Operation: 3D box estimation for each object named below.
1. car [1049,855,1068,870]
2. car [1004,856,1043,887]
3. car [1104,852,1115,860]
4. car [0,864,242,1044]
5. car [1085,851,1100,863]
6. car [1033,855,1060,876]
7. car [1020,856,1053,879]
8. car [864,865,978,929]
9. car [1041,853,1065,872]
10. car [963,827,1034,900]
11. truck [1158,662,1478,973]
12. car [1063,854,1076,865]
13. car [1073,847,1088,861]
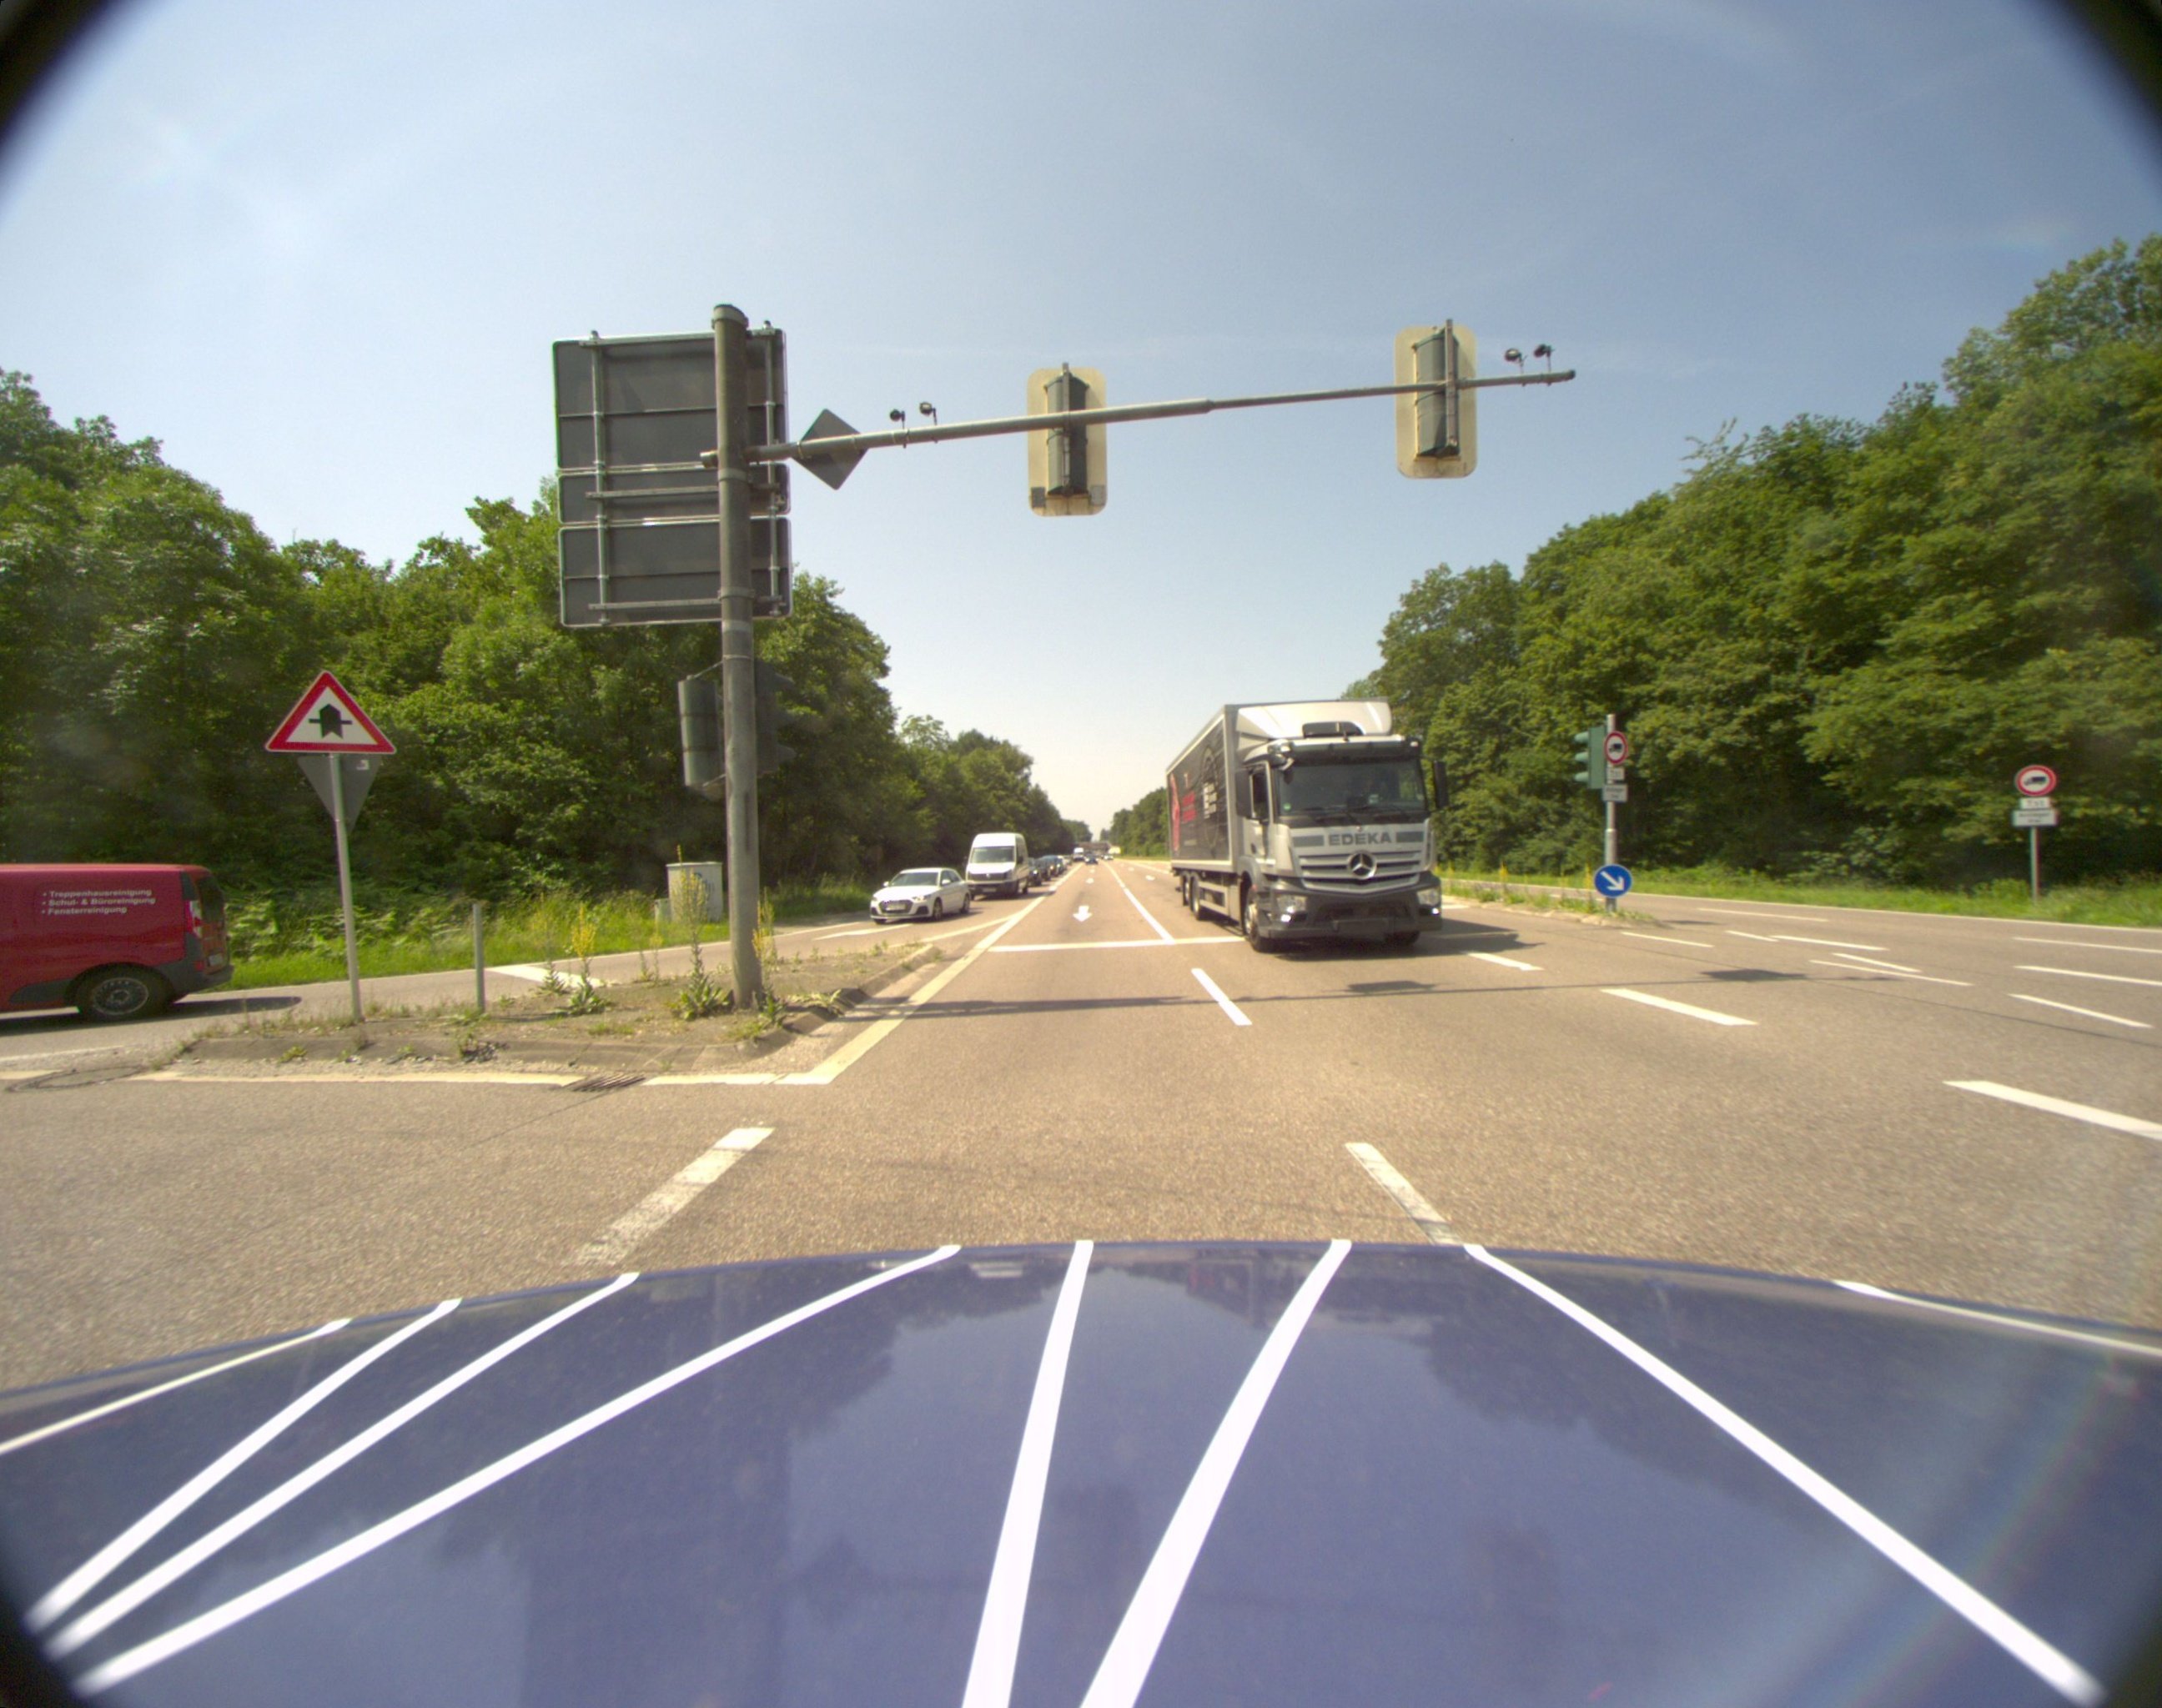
[{"bbox_3d":[-2.286,0.838,77.935,1.796,1.431,4.228,-1,0,0],"label":"car"},{"bbox_3d":[-3.061,0.930,41.409,1.796,1.452,4.228,-3,1,-1],"label":"car"},{"bbox_3d":[5.684,0.404,151.142,1.998,1.543,4.000,-1,0,1],"label":"car"},{"bbox_3d":[-12.390,1.118,8.025,4.505,1.812,1.793,-2,0,-41],"label":"car"},{"bbox_3d":[1.602,0.420,106.965,1.992,1.575,4.364,-2,1,0],"label":"car"},{"bbox_3d":[-2.539,0.819,56.946,1.796,1.431,4.228,-2,1,0],"label":"car"},{"bbox_3d":[-2.831,0.839,49.128,1.796,1.348,4.228,-2,1,0],"label":"car"},{"bbox_3d":[-4.354,1.134,21.327,1.693,1.427,4.002,-4,0,10],"label":"car"},{"bbox_3d":[-2.308,0.666,63.635,1.796,1.431,4.228,-2,1,0],"label":"car"},{"bbox_3d":[-3.280,0.336,31.408,1.974,2.629,6.060,-3,0,2],"label":"car"},{"bbox_3d":[3.622,-0.507,15.401,2.753,3.862,11.319,-3,1,0],"label":"truck"},{"bbox_3d":[-1.672,0.724,109.118,1.796,1.431,4.228,-2,1,0],"label":"car"},{"bbox_3d":[-0.043,0.036,148.019,2.673,2.685,6.330,-1,0,3],"label":"car"}]
